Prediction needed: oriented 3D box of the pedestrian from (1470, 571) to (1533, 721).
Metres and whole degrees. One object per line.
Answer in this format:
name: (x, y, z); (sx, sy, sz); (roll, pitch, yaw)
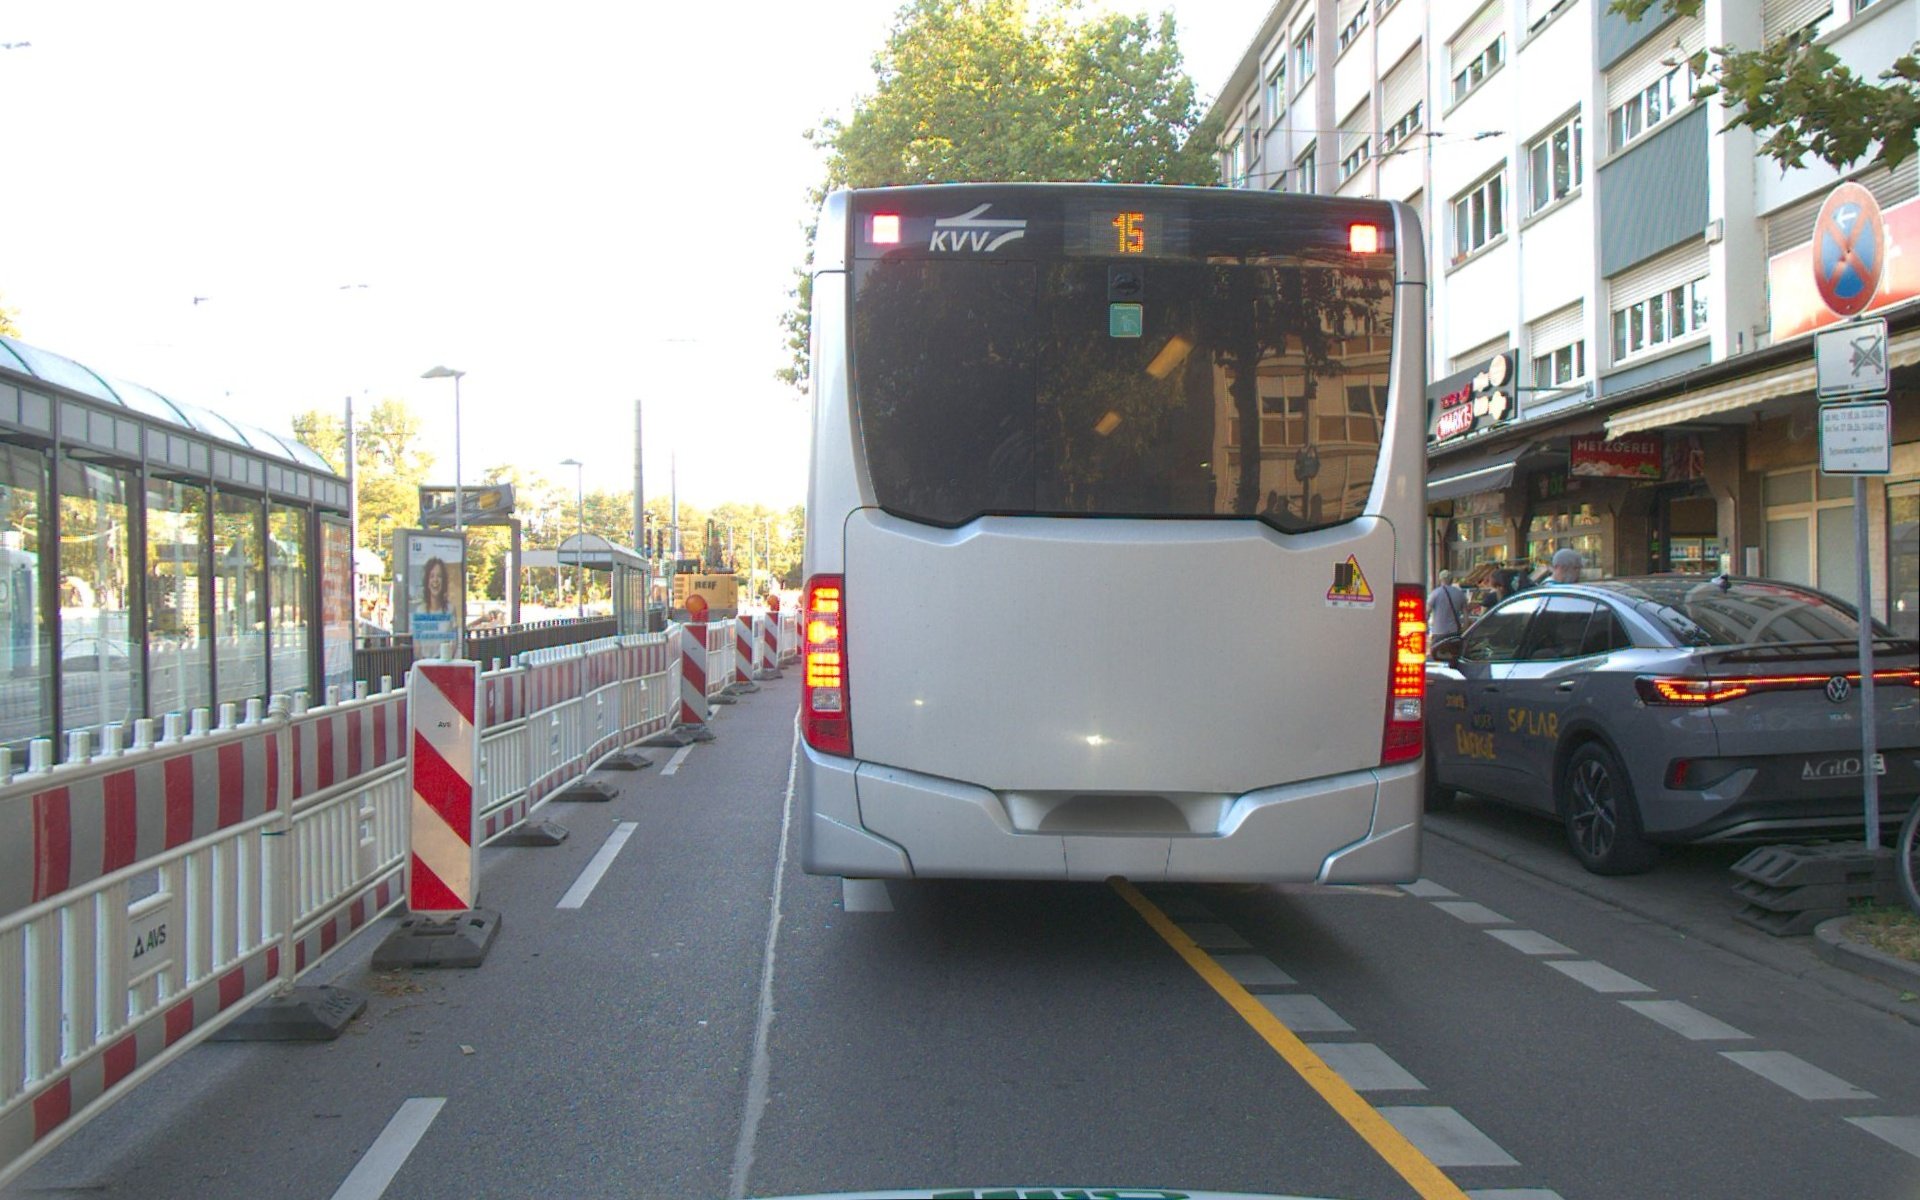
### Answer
pedestrian: (7.559, 0.636, 23.106); (0.600, 2.049, 0.696); (-1, 0, -4)

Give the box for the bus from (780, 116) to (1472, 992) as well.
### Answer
bus: (0.576, -0.183, 11.256); (2.555, 3.225, 10.290); (0, 0, -1)

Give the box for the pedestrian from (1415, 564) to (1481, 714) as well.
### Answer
pedestrian: (6.799, 0.531, 23.069); (0.677, 2.049, 0.696); (-1, 0, -3)

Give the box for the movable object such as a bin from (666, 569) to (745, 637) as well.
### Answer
movable object such as a bin: (-9.708, 0.102, 63.517); (2.752, 2.505, 3.995); (0, 0, -6)

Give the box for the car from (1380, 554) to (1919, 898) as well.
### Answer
car: (4.229, 0.609, 10.355); (1.706, 1.625, 4.294); (-3, 0, -5)

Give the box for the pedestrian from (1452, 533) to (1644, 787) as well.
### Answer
pedestrian: (4.657, 0.459, 13.173); (1.097, 1.923, 1.024); (-1, 0, -5)
